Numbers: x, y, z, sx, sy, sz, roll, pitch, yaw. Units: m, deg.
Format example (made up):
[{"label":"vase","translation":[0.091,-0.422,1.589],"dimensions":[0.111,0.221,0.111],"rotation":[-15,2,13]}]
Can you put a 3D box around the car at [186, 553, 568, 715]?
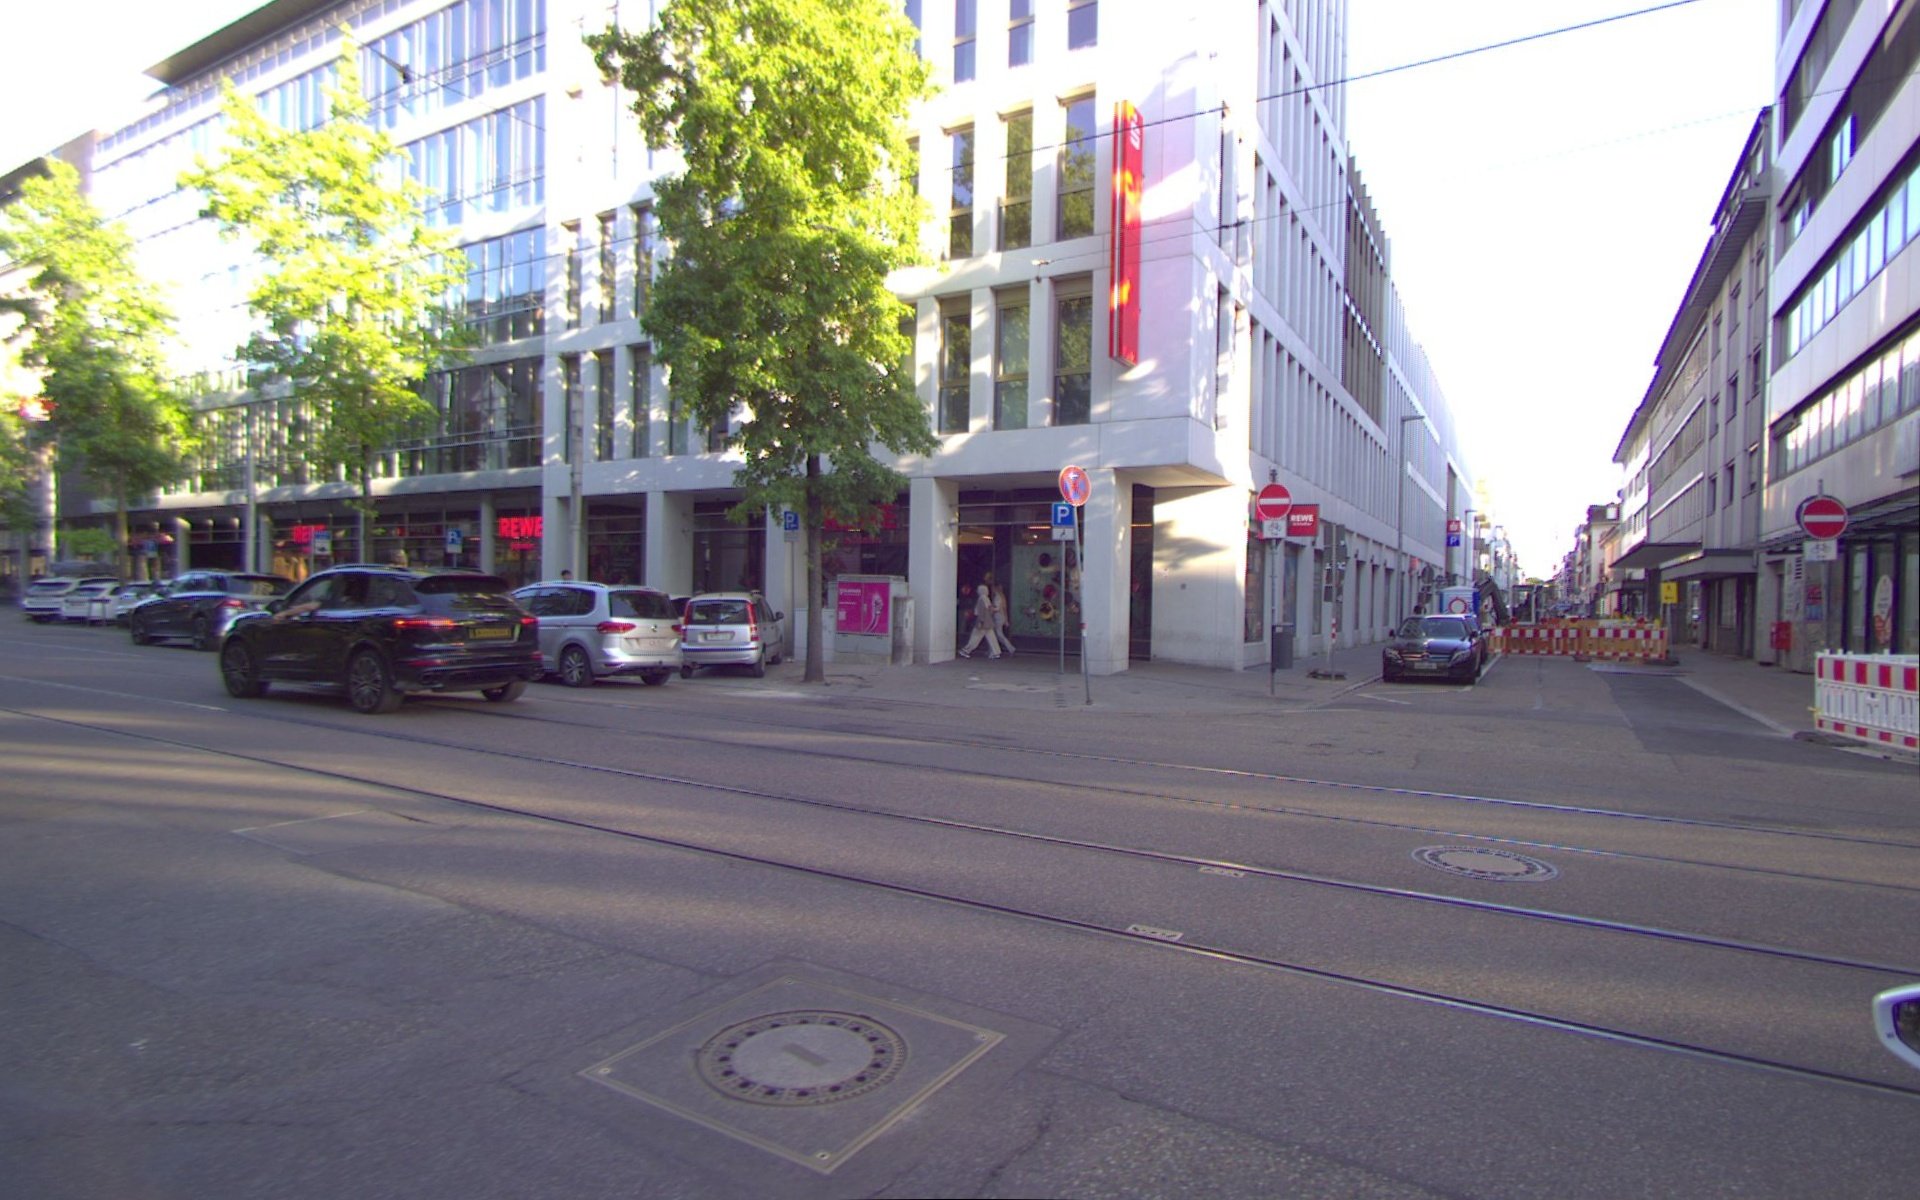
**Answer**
[{"label":"car","translation":[-7.589,0.329,12.978],"dimensions":[4.856,1.749,2.019],"rotation":[2,0,28]}]

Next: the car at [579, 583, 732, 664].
[{"label":"car","translation":[-6.648,0.446,22.404],"dimensions":[1.912,1.526,3.998],"rotation":[-1,2,4]}]

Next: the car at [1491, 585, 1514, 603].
[{"label":"car","translation":[56.445,-0.616,104.457],"dimensions":[1.965,1.800,3.992],"rotation":[0,0,31]}]

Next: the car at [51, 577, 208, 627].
[{"label":"car","translation":[-28.668,0.020,34.850],"dimensions":[1.912,1.526,3.998],"rotation":[-1,2,4]}]

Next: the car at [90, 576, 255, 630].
[{"label":"car","translation":[-25.116,0.051,32.258],"dimensions":[1.912,1.526,3.998],"rotation":[-1,2,4]}]

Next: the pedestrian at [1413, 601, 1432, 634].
[{"label":"pedestrian","translation":[21.175,0.808,46.015],"dimensions":[0.706,1.484,0.524],"rotation":[0,0,33]}]

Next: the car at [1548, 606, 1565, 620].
[{"label":"car","translation":[83.193,1.802,140.136],"dimensions":[1.965,1.800,3.992],"rotation":[0,0,31]}]

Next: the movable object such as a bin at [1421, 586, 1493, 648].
[{"label":"movable object such as a bin","translation":[17.503,0.562,35.278],"dimensions":[1.965,2.040,3.991],"rotation":[0,0,31]}]

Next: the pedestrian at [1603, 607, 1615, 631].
[{"label":"pedestrian","translation":[41.080,1.207,63.570],"dimensions":[0.517,1.484,0.715],"rotation":[2,1,39]}]

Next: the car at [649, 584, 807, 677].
[{"label":"car","translation":[-4.442,0.510,19.902],"dimensions":[1.912,1.526,3.998],"rotation":[-1,2,4]}]

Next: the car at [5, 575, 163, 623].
[{"label":"car","translation":[-31.137,-0.074,35.893],"dimensions":[1.912,1.526,3.998],"rotation":[-1,2,4]}]

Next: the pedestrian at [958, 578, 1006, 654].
[{"label":"pedestrian","translation":[0.491,0.341,22.205],"dimensions":[0.857,1.649,0.610],"rotation":[2,1,29]}]

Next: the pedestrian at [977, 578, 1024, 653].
[{"label":"pedestrian","translation":[0.919,0.339,22.715],"dimensions":[0.857,1.649,0.610],"rotation":[2,1,29]}]

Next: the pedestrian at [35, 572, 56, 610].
[{"label":"pedestrian","translation":[-45.125,-0.455,49.565],"dimensions":[0.602,1.865,0.596],"rotation":[1,1,29]}]

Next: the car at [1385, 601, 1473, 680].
[{"label":"car","translation":[10.190,0.804,21.721],"dimensions":[1.604,1.571,3.138],"rotation":[0,0,27]}]

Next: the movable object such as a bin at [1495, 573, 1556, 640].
[{"label":"movable object such as a bin","translation":[24.126,0.273,42.838],"dimensions":[2.125,2.699,4.563],"rotation":[1,0,30]}]

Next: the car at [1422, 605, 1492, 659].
[{"label":"car","translation":[14.720,0.893,29.727],"dimensions":[1.762,1.471,3.138],"rotation":[0,0,27]}]

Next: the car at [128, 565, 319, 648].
[{"label":"car","translation":[-17.018,0.136,23.190],"dimensions":[4.206,1.760,1.867],"rotation":[1,-1,28]}]

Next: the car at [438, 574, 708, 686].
[{"label":"car","translation":[-6.435,0.449,16.639],"dimensions":[4.206,1.613,1.826],"rotation":[1,-1,28]}]
